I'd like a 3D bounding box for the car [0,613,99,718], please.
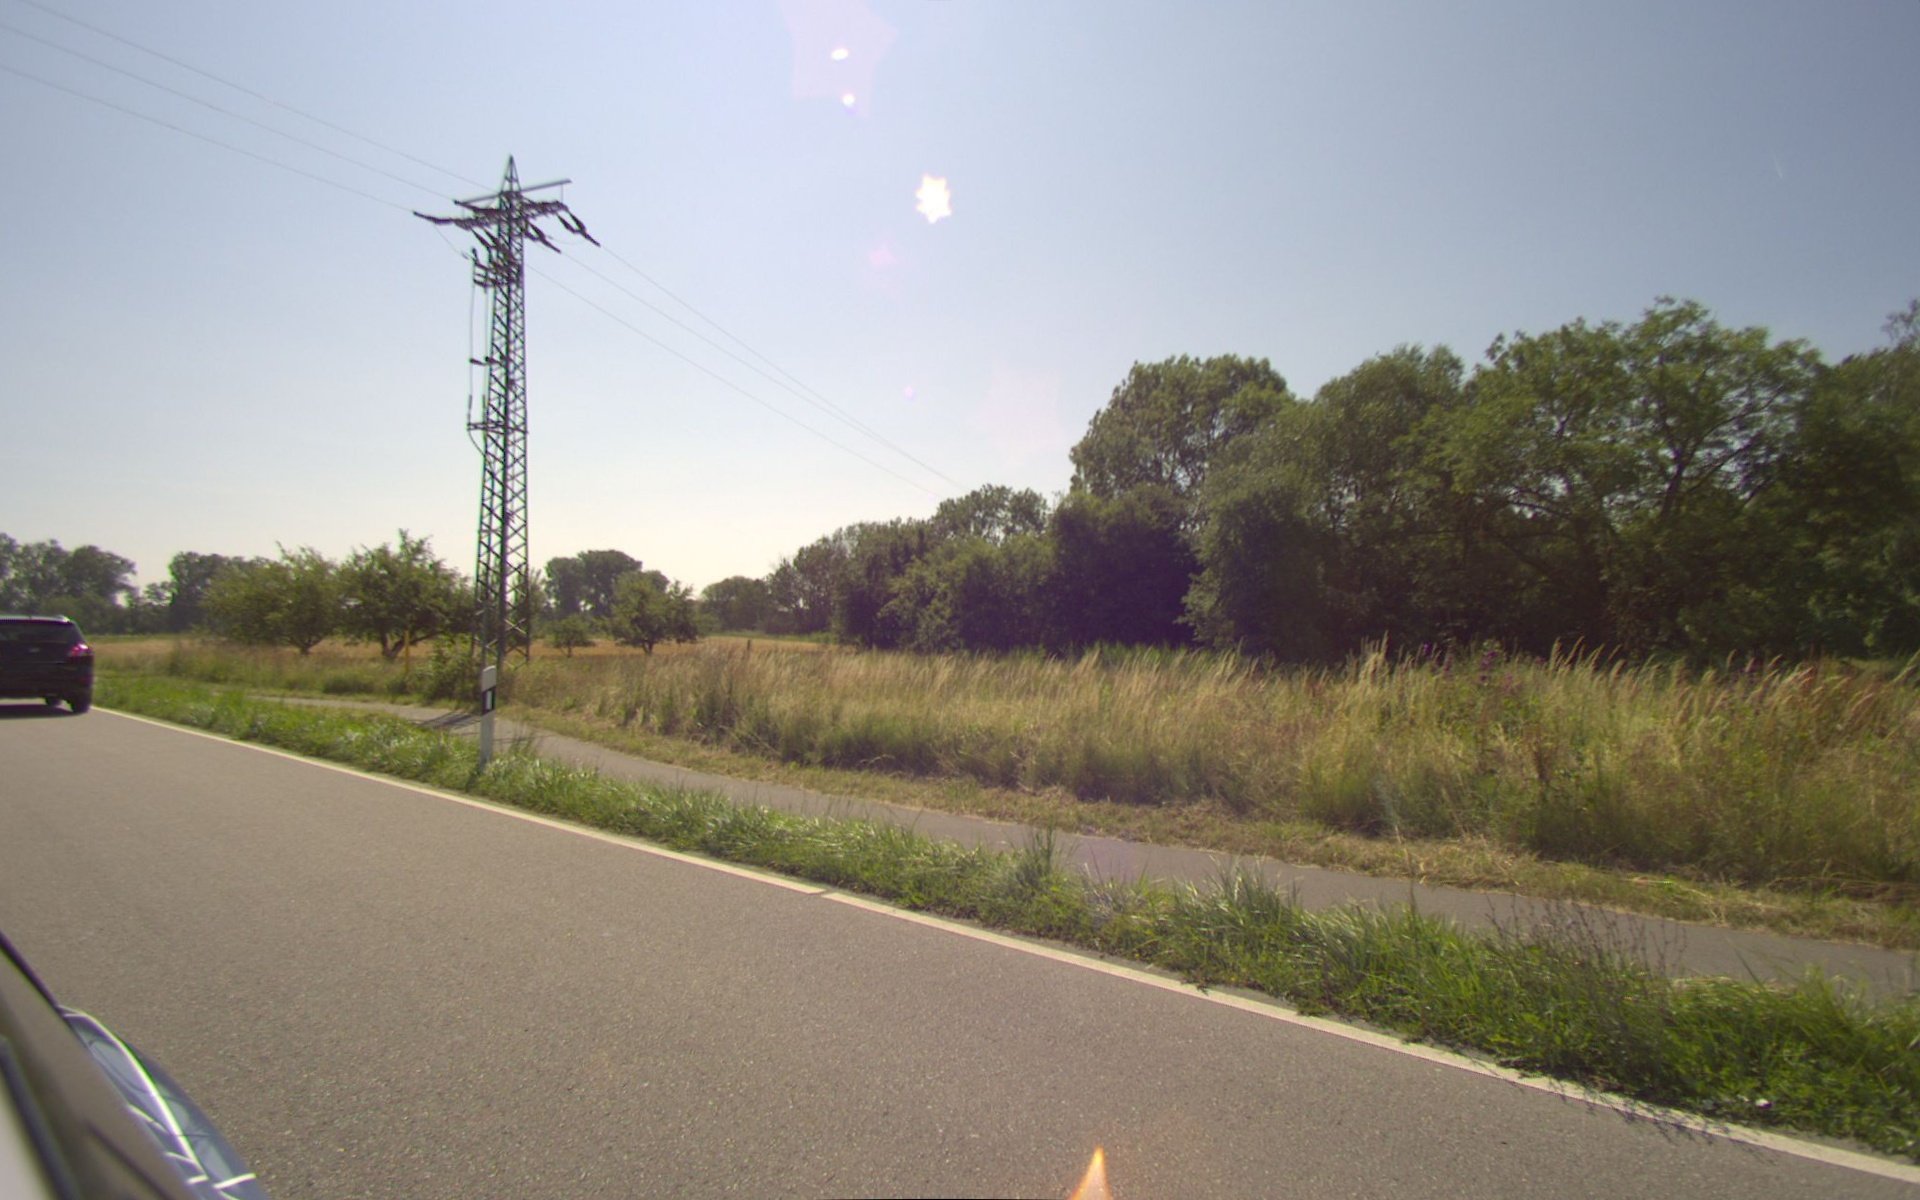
[{"bbox_3d":[-17.734,1.174,18.814,4.292,1.766,1.847,-1,-4,40],"label":"car"}]
